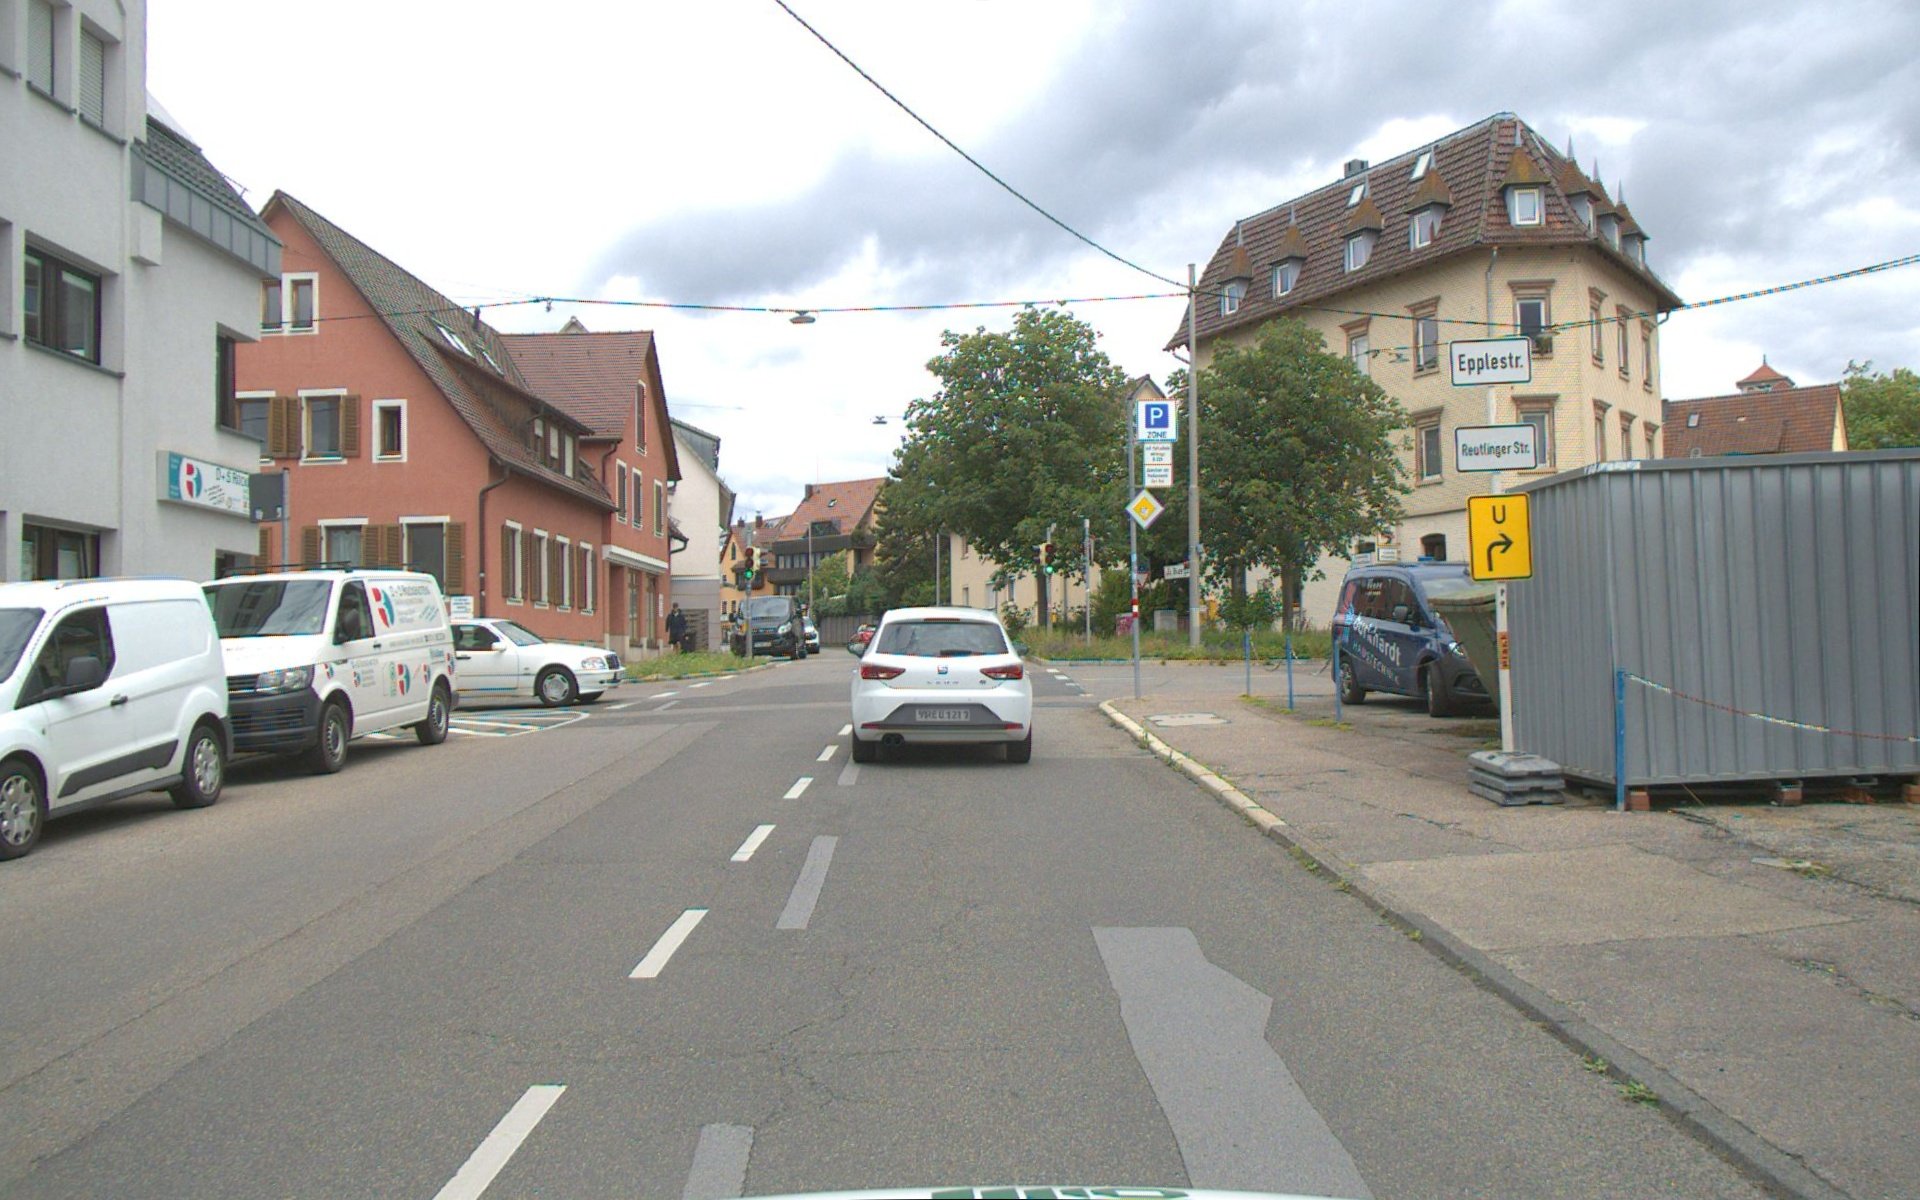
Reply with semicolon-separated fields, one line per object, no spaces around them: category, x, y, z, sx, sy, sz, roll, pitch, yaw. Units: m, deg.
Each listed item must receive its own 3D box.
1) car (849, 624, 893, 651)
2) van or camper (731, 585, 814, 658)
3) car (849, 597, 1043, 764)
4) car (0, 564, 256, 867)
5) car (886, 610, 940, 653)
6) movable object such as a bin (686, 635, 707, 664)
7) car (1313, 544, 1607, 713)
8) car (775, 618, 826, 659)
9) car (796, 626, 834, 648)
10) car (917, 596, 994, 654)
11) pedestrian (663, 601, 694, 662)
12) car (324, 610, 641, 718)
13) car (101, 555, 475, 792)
car;-5.257;2.238;97.219;1.729;1.477;3.983;2;-3;-15
van or camper;-5.801;0.725;51.724;2.032;2.041;4.855;-3;-3;-1
car;-0.090;0.728;16.820;1.722;1.477;4.000;-1;0;1
car;-6.801;0.756;11.806;1.698;1.863;4.296;-3;0;-1
car;-1.725;1.157;60.109;1.724;1.477;3.995;-1;-2;-5
movable object such as a bin;-9.565;1.791;60.029;0.652;1.036;0.795;-2;-1;-4
car;5.985;0.321;20.427;1.713;1.770;4.564;-3;0;-7
car;-6.886;1.667;71.057;1.960;1.662;4.848;0;-2;-8
car;-10.221;2.615;116.122;1.732;1.477;3.977;0;-2;-19
car;-0.162;0.702;44.845;1.724;1.477;3.995;-1;-2;-5
pedestrian;-8.551;0.956;50.227;0.784;1.816;0.892;0;-1;-1
car;-7.636;1.010;26.761;4.459;1.470;2.001;-3;-1;2
car;-6.750;0.664;17.275;1.775;2.040;4.764;-3;0;1
